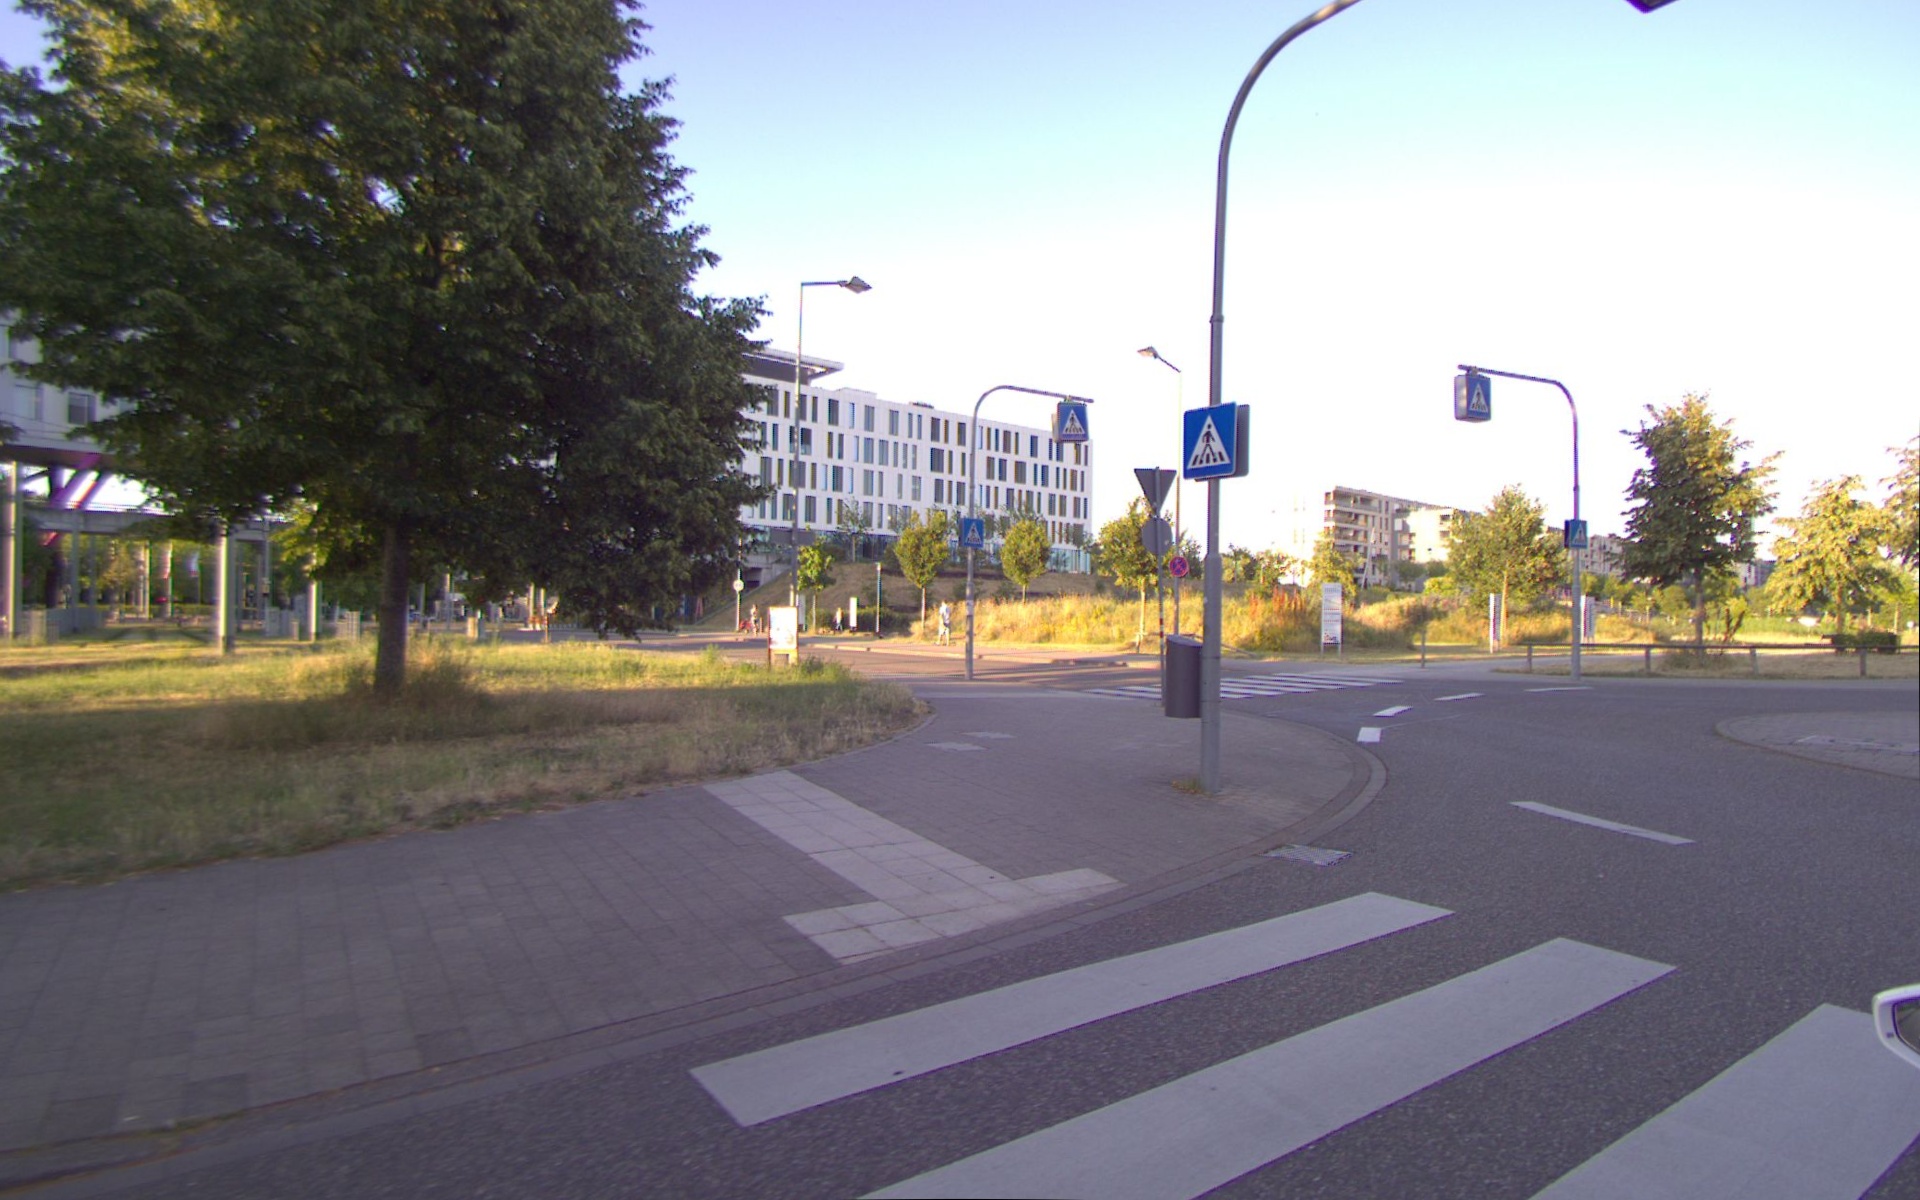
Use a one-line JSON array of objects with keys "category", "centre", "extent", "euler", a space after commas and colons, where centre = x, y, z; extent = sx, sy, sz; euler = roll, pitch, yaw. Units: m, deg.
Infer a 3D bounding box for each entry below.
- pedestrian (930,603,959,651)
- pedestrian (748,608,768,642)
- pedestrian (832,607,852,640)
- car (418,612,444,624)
[{"category": "pedestrian", "centre": [-0.593, 1.047, 38.744], "extent": [0.782, 1.810, 0.860], "euler": [1, -1, -36]}, {"category": "pedestrian", "centre": [-10.788, 1.329, 53.724], "extent": [0.804, 1.810, 0.783], "euler": [1, -1, -31]}, {"category": "pedestrian", "centre": [-7.284, 1.440, 61.968], "extent": [0.925, 2.046, 1.039], "euler": [1, -1, -31]}, {"category": "car", "centre": [-98.172, 3.378, 186.362], "extent": [3.941, 2.041, 1.990], "euler": [2, 1, -22]}]
